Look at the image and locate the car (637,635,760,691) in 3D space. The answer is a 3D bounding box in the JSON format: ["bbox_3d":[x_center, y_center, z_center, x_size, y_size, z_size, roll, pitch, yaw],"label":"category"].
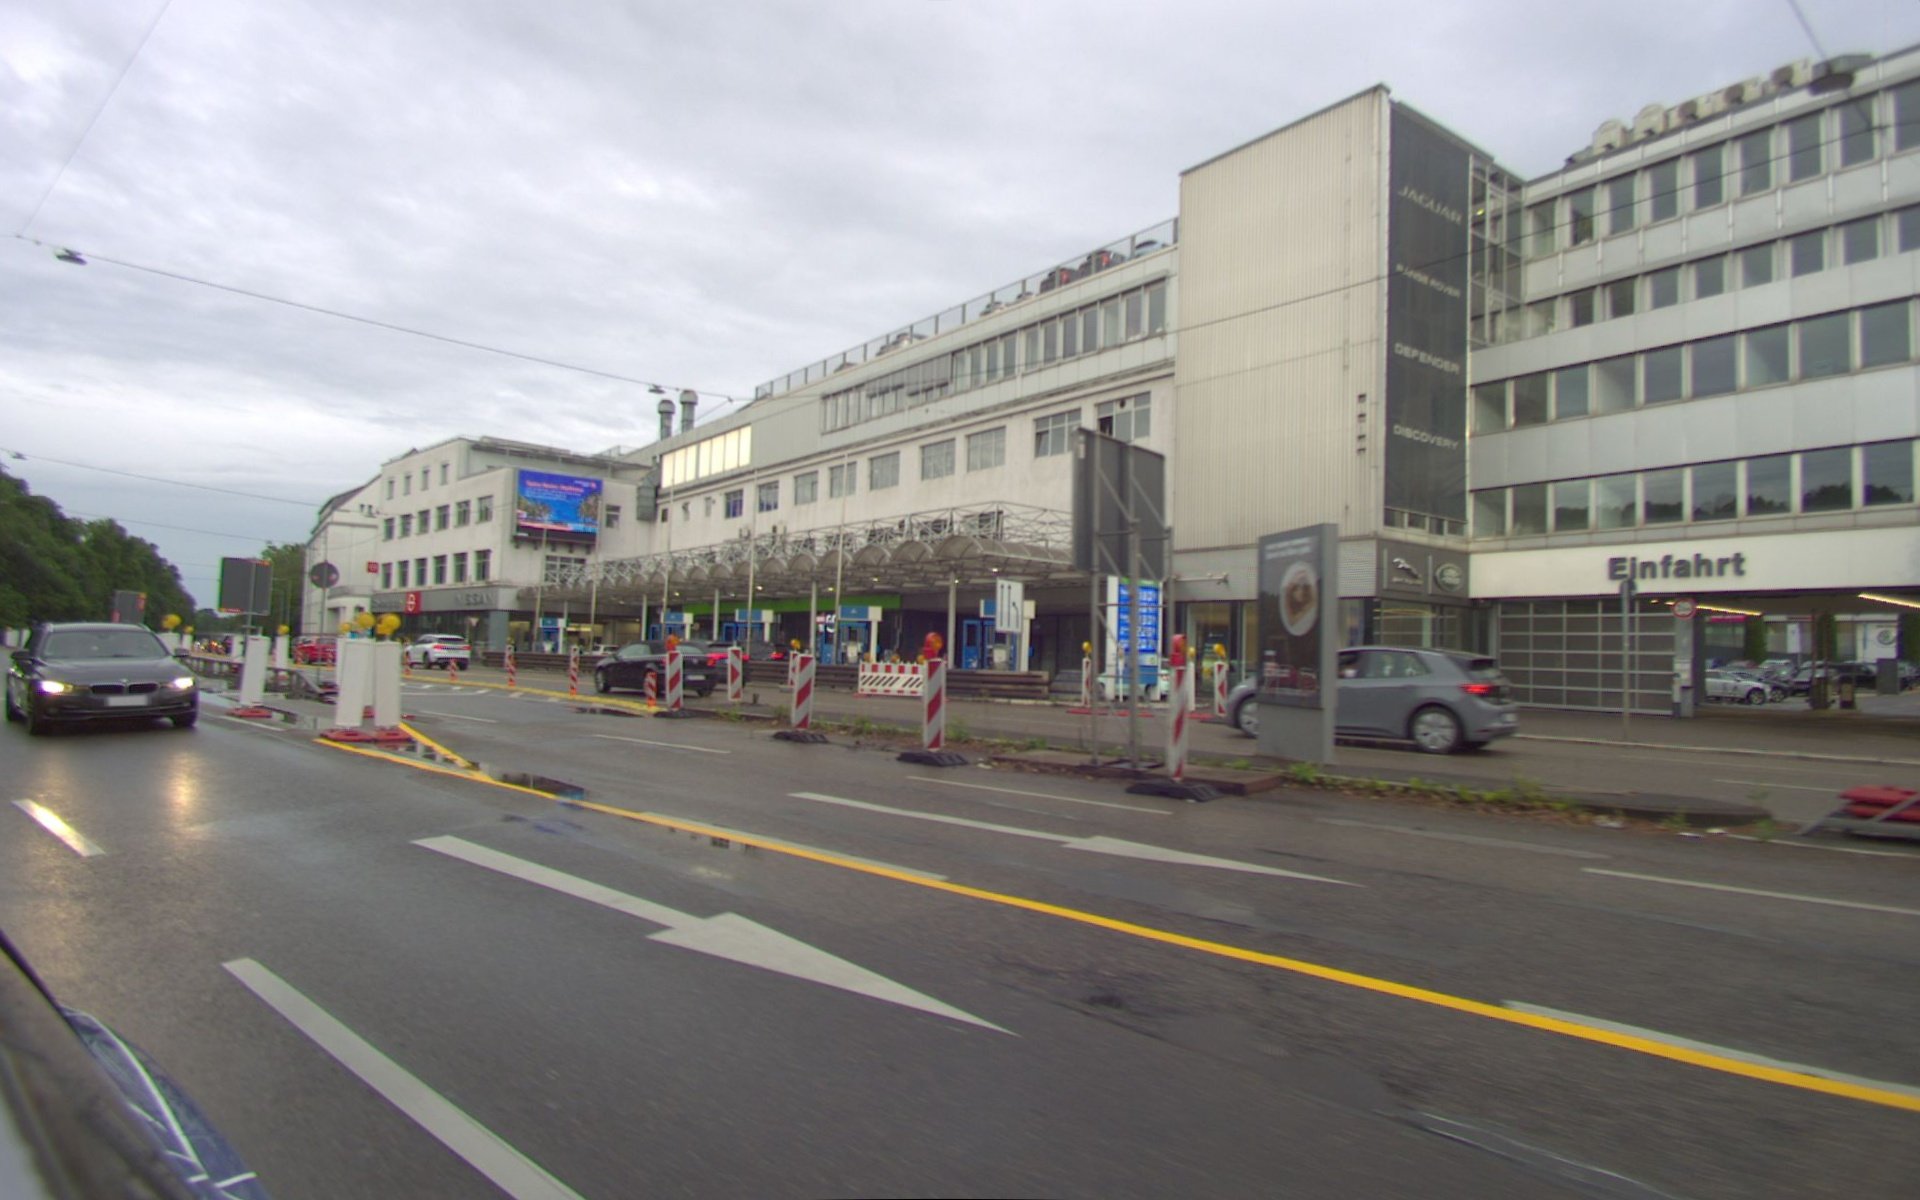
[{"bbox_3d":[-8.075,1.901,31.057,4.000,1.525,1.732,-1,-5,43],"label":"car"}]

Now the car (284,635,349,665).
[{"bbox_3d":[-32.094,2.466,50.426,4.290,1.415,1.716,-2,-4,44],"label":"car"}]

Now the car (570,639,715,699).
[{"bbox_3d":[-8.200,1.747,25.975,4.115,1.365,1.670,-1,-6,43],"label":"car"}]

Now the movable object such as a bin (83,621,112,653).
[{"bbox_3d":[-86.546,3.739,101.618,1.798,2.935,3.614,6,-7,-37],"label":"movable object such as a bin"}]

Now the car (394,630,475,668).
[{"bbox_3d":[-25.291,2.329,48.643,4.833,1.720,1.957,-2,-5,44],"label":"car"}]

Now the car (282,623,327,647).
[{"bbox_3d":[-45.500,2.415,70.227,4.079,1.548,1.691,-2,-6,44],"label":"car"}]

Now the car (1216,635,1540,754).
[{"bbox_3d":[6.347,1.369,15.659,4.299,1.570,1.789,-1,-4,41],"label":"car"}]

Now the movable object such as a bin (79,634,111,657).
[{"bbox_3d":[-83.123,4.406,97.252,1.967,2.128,3.857,5,-6,-37],"label":"movable object such as a bin"}]

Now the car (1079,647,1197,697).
[{"bbox_3d":[5.995,2.421,34.409,1.631,1.547,3.762,6,-5,-39],"label":"car"}]

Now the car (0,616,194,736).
[{"bbox_3d":[-12.467,1.007,14.428,4.177,1.461,1.740,-2,-3,43],"label":"car"}]

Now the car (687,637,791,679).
[{"bbox_3d":[-10.209,2.701,47.080,4.412,1.692,2.016,3,-4,-4],"label":"car"}]

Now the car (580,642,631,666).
[{"bbox_3d":[-24.332,3.671,69.431,1.791,1.494,3.971,6,-6,-43],"label":"car"}]

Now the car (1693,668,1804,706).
[{"bbox_3d":[39.743,4.366,51.104,3.961,1.716,1.878,1,-4,14],"label":"car"}]

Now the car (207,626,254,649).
[{"bbox_3d":[-51.826,2.673,71.875,4.302,1.533,1.936,-2,-5,45],"label":"car"}]

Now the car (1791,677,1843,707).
[{"bbox_3d":[52.441,5.643,61.911,3.746,1.702,1.793,6,-5,-40],"label":"car"}]
